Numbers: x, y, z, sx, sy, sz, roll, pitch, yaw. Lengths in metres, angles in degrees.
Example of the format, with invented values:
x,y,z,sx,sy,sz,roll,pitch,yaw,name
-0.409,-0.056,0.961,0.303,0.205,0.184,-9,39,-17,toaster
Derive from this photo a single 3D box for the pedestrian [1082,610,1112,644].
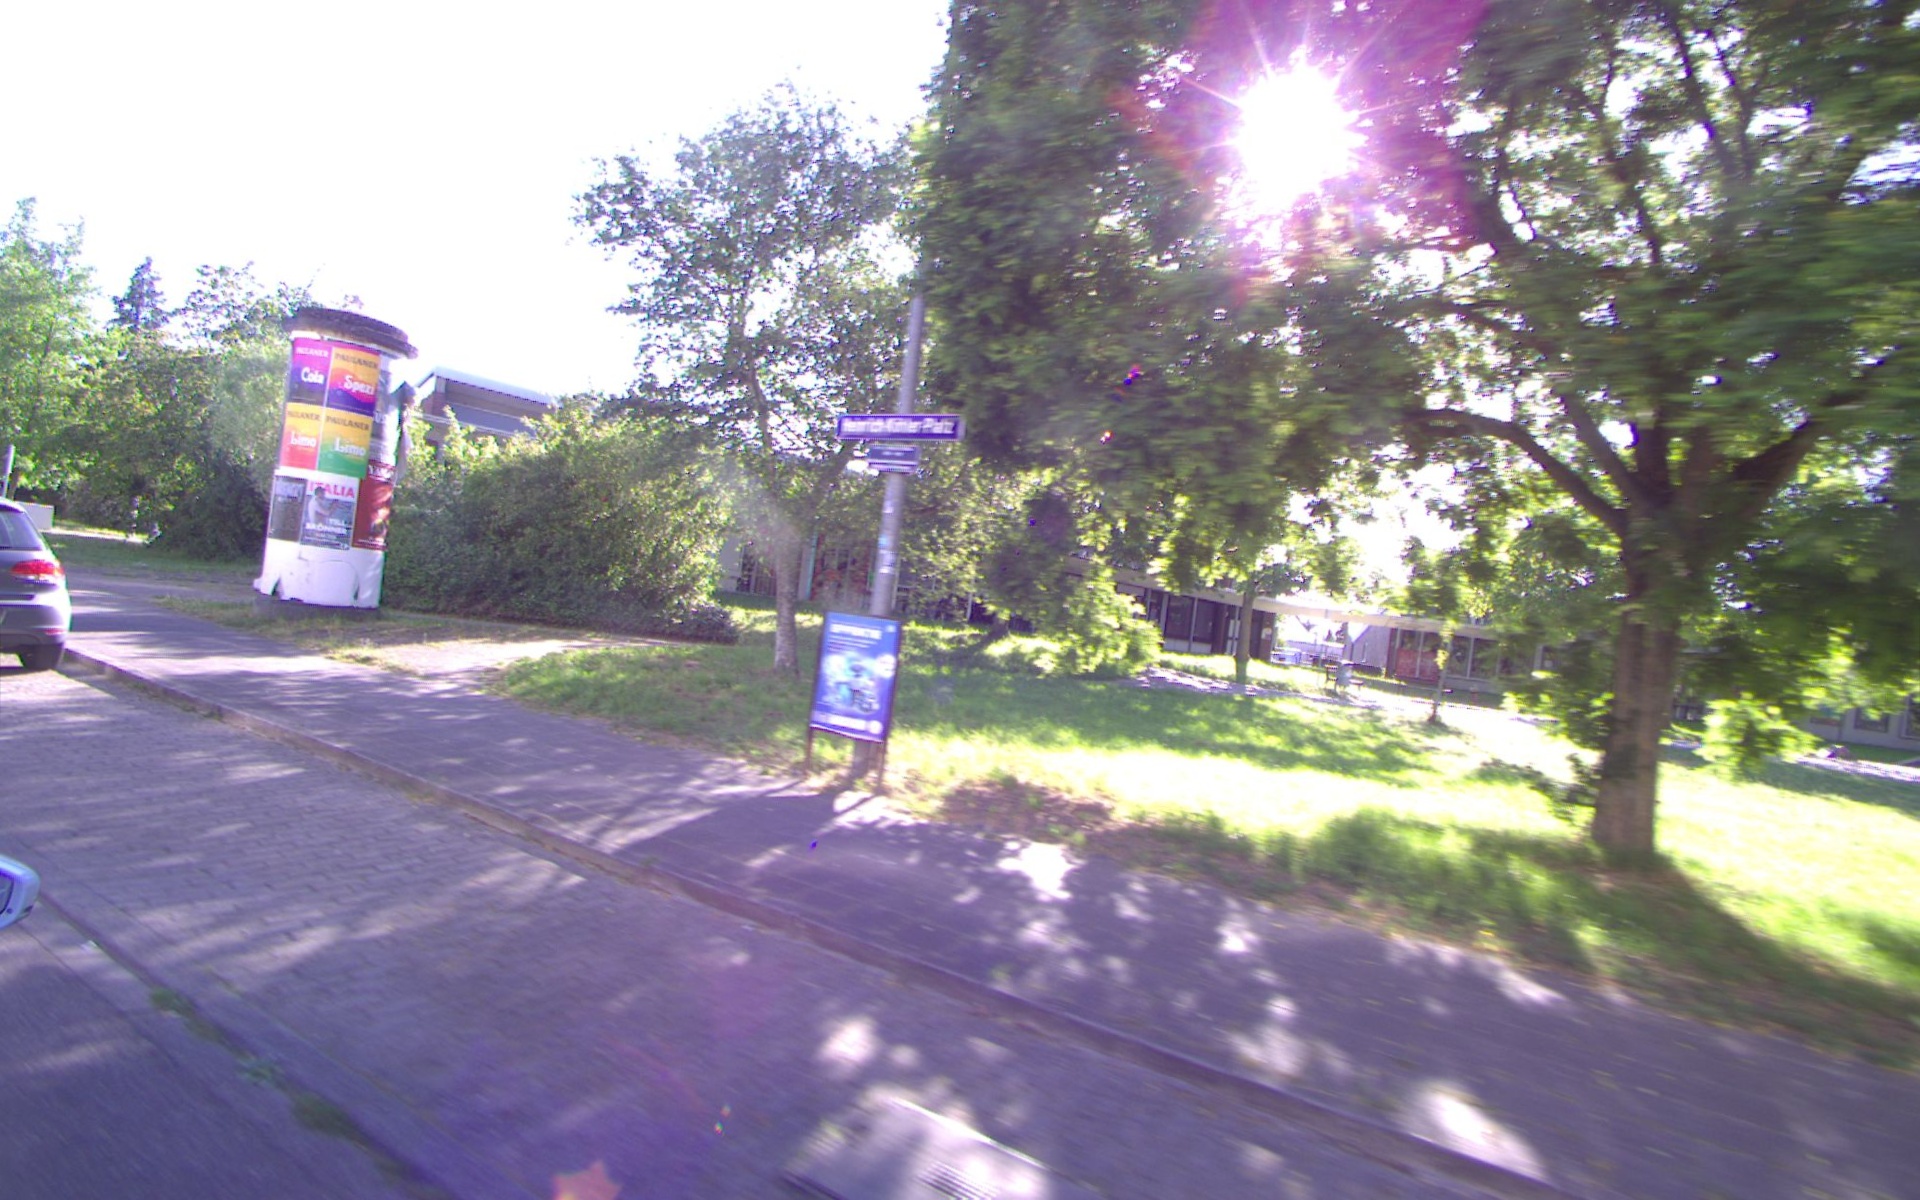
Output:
x,y,z,sx,sy,sz,roll,pitch,yaw,name
5.688,1.117,41.782,0.831,1.288,0.762,7,0,-26,pedestrian

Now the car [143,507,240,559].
x,y,z,sx,sy,sz,roll,pitch,yaw,name
-31.952,-2.778,41.860,2.946,1.583,1.679,9,2,-44,car

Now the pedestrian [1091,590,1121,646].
x,y,z,sx,sy,sz,roll,pitch,yaw,name
5.638,0.703,38.874,0.841,2.038,0.636,7,1,16,pedestrian

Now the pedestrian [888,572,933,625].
x,y,z,sx,sy,sz,roll,pitch,yaw,name
-1.624,-0.056,32.943,0.850,1.595,1.079,7,0,-37,pedestrian

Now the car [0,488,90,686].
x,y,z,sx,sy,sz,roll,pitch,yaw,name
-9.675,-0.324,8.901,4.354,1.545,1.721,7,3,31,car

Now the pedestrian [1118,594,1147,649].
x,y,z,sx,sy,sz,roll,pitch,yaw,name
6.650,0.830,38.747,0.825,2.038,0.636,7,1,6,pedestrian
